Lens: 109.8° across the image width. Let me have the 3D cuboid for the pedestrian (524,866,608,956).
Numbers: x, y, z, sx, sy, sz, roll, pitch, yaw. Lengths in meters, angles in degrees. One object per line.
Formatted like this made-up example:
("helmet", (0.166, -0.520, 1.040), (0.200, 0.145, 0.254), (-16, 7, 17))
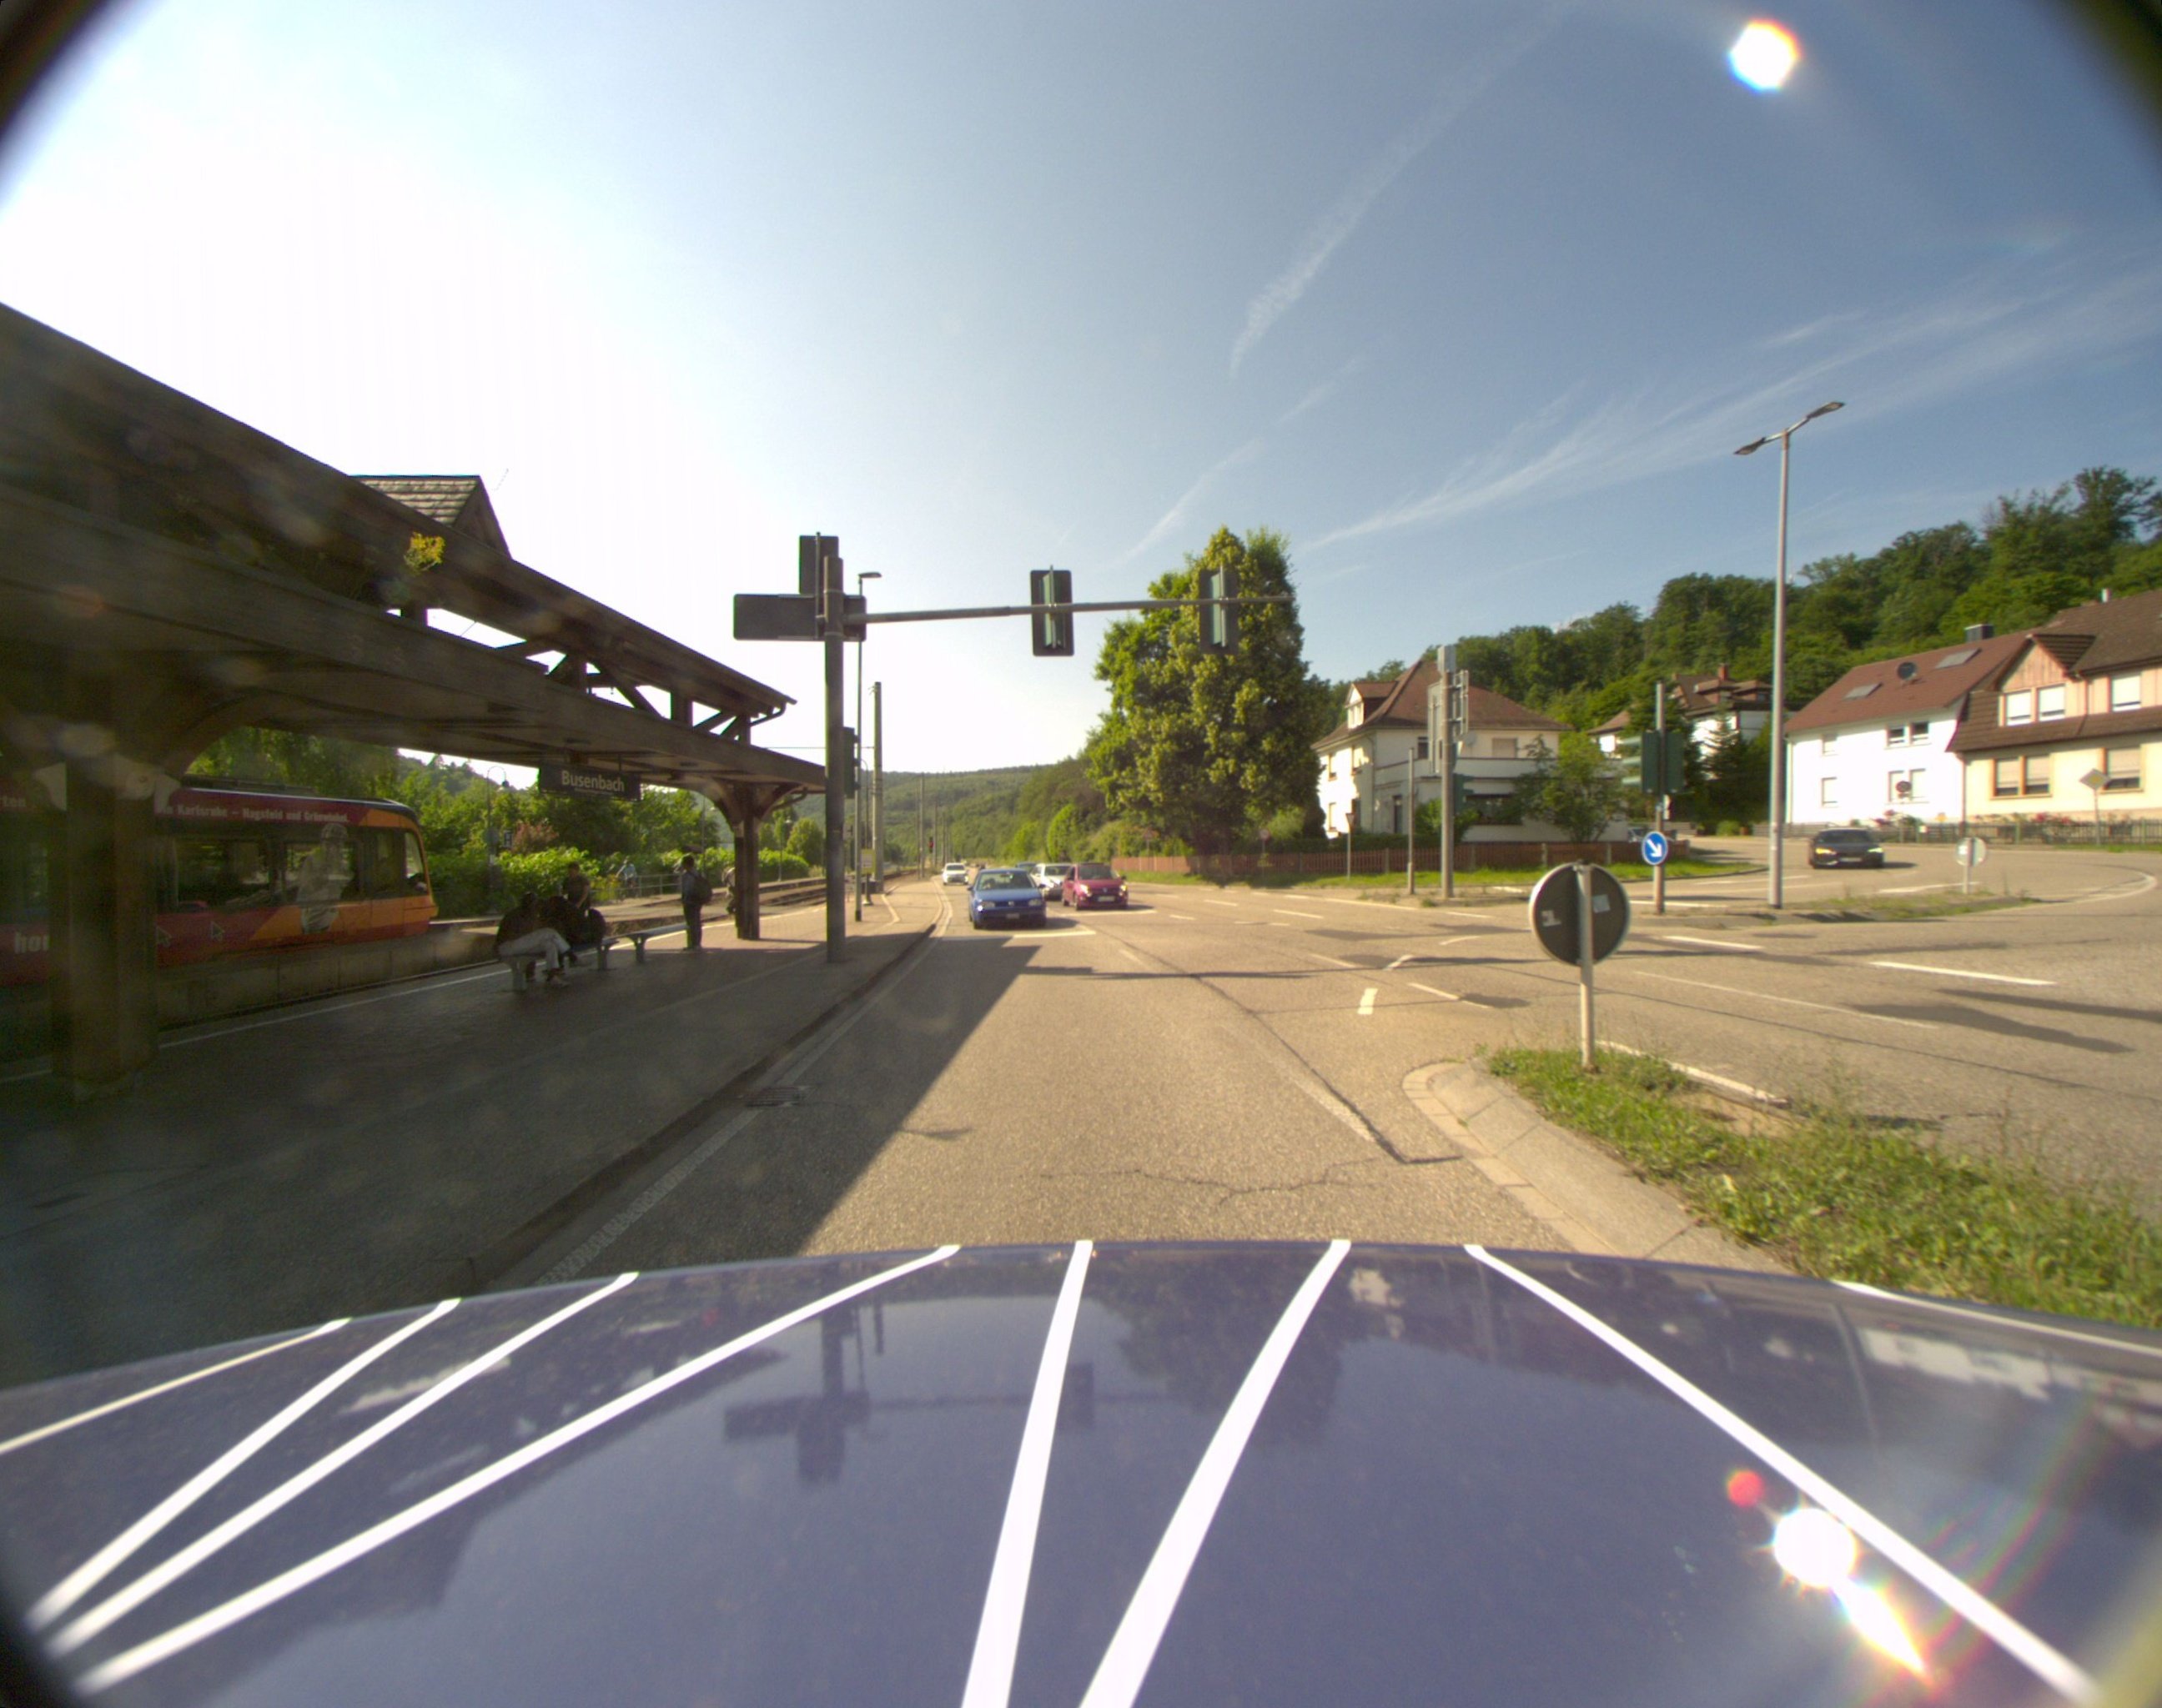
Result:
("pedestrian", (-9.287, 1.006, 13.735), (0.863, 1.538, 0.922), (-1, -1, -1))

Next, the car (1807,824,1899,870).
("car", (28.496, -0.264, 28.179), (1.995, 1.499, 4.008), (-4, -1, 41))

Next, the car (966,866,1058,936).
("car", (-1.859, 1.070, 19.184), (1.867, 1.474, 4.298), (-1, 0, -11))

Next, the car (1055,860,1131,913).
("car", (0.292, 1.006, 24.800), (1.662, 1.525, 3.951), (-2, -1, -11))

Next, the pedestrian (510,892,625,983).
("pedestrian", (-7.288, 1.163, 10.837), (1.009, 1.153, 0.948), (-2, 1, -9))

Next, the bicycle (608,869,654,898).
("bicycle", (-20.884, 1.338, 35.311), (0.873, 1.246, 2.295), (-3, -1, -5))

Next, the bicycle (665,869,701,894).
("bicycle", (-21.840, 1.493, 41.737), (0.873, 1.246, 2.295), (-3, -1, -5))

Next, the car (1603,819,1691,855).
("car", (30.126, -0.861, 40.601), (1.938, 1.627, 4.002), (-3, -1, 6))

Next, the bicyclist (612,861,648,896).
("bicyclist", (-20.879, 1.109, 35.173), (1.010, 1.544, 1.041), (-3, -1, -6))

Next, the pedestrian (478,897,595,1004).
("pedestrian", (-6.885, 1.198, 9.649), (0.994, 1.228, 0.596), (-3, -1, -9))

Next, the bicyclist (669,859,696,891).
("bicyclist", (-21.886, 1.142, 41.752), (1.010, 1.716, 0.866), (-3, -1, -6))

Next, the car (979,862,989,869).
("car", (-25.174, 3.101, 197.401), (2.001, 1.673, 3.996), (-3, -1, -15))

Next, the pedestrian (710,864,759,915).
("pedestrian", (-12.477, 1.262, 27.403), (1.250, 1.726, 0.917), (-3, -1, 6))

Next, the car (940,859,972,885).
("car", (-8.599, 1.209, 52.251), (2.000, 1.575, 3.997), (-3, 0, -9))

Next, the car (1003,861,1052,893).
("car", (-2.873, 1.199, 40.063), (1.981, 1.495, 3.983), (-2, -1, -12))

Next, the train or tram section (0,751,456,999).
("train or tram section", (-15.984, 0.327, 10.507), (2.863, 3.345, 14.352), (-2, 0, -1))

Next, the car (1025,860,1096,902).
("car", (-0.943, 1.067, 31.076), (1.981, 1.495, 4.747), (-2, -1, -12))

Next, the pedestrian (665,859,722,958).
("pedestrian", (-6.876, 0.942, 13.504), (0.659, 1.682, 0.738), (-1, 0, -9))
